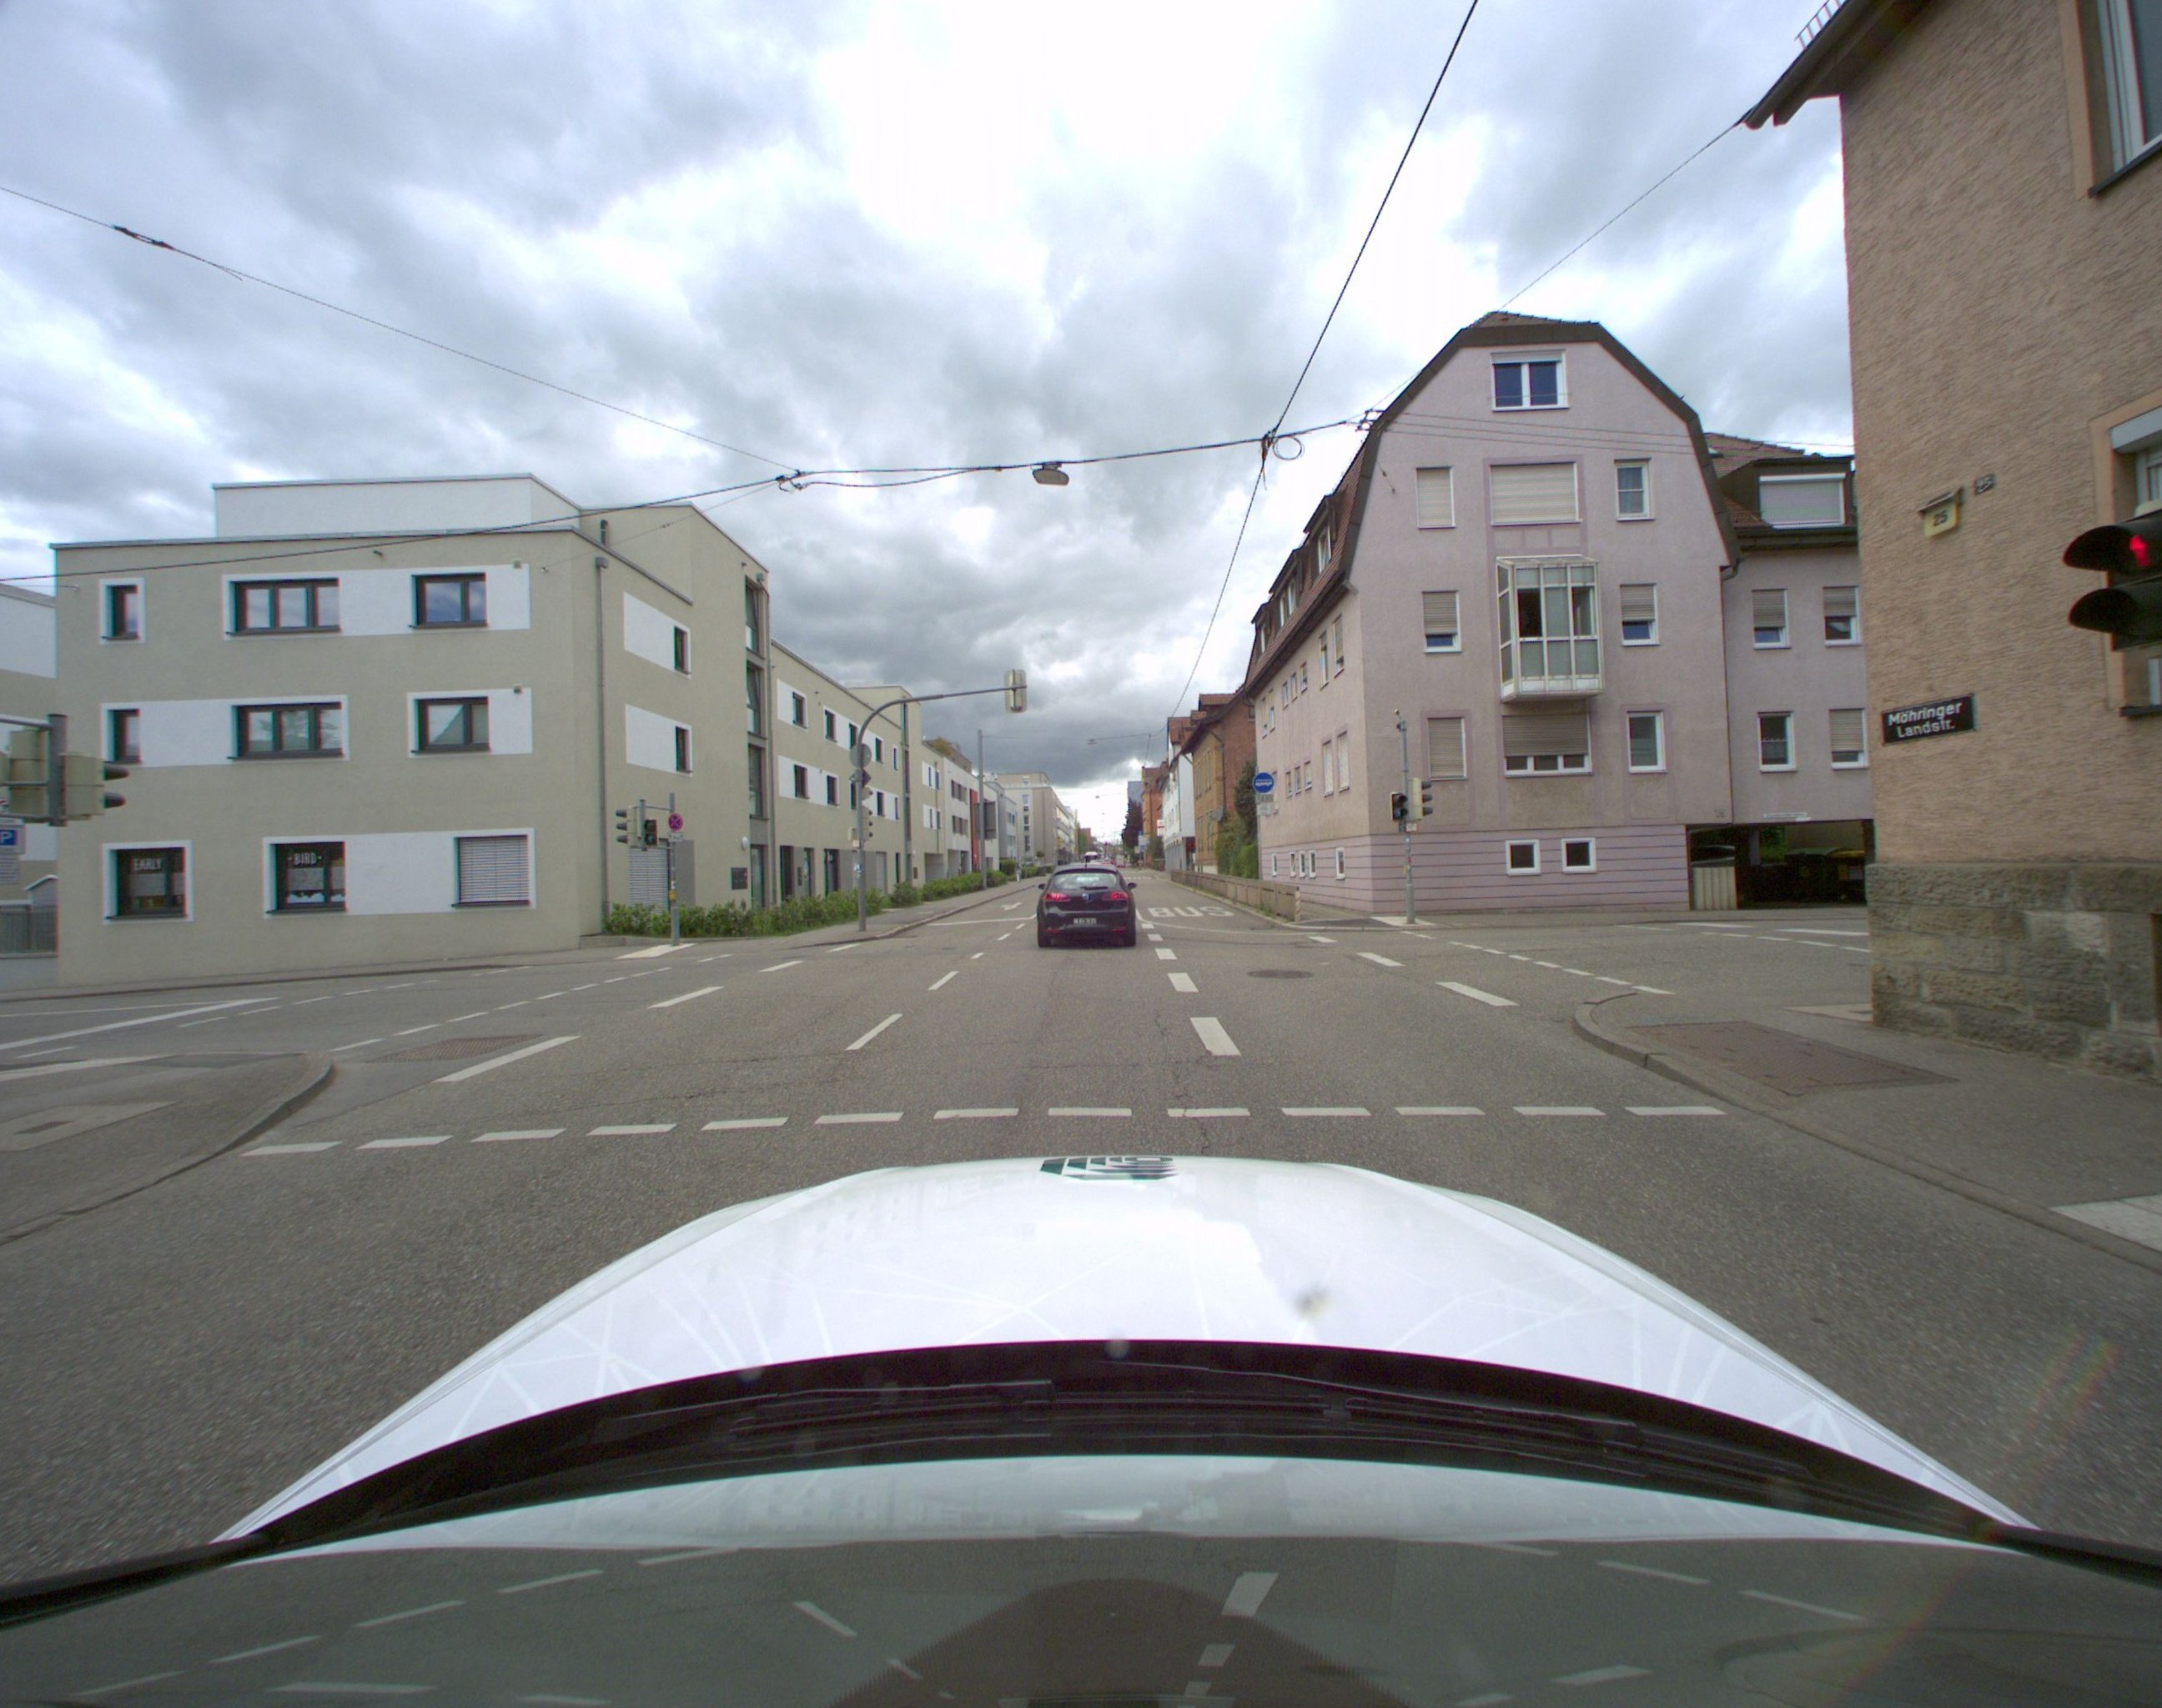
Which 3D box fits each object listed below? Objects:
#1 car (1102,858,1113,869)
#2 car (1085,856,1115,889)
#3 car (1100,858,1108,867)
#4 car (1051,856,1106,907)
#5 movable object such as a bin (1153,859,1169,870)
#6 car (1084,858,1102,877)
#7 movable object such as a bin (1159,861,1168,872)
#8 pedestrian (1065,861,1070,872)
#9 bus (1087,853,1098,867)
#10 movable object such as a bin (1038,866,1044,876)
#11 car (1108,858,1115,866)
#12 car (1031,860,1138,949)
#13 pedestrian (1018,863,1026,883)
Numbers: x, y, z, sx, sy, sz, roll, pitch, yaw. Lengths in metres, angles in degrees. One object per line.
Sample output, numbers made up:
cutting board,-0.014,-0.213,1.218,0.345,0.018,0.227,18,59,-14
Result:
car,4.000,1.429,122.558,1.526,1.693,3.694,-1,-1,2
car,1.055,0.991,44.432,1.526,1.693,3.694,-1,-1,2
car,4.643,1.768,163.657,1.526,1.693,3.694,-2,0,2
car,-0.020,0.962,29.682,1.835,1.693,4.001,-1,-1,2
movable object such as a bin,9.956,1.311,101.630,1.810,1.437,1.994,-1,-1,3
car,1.120,1.238,73.988,1.526,1.693,3.694,-1,-1,2
movable object such as a bin,9.847,1.536,97.197,0.925,1.283,0.883,-1,-1,2
pedestrian,-2.003,1.835,119.194,0.728,1.729,0.860,-1,-1,1
bus,2.424,1.266,170.598,2.202,2.886,8.923,-1,-1,2
movable object such as a bin,-4.138,1.746,84.663,0.547,1.078,0.612,-1,-1,3
car,7.054,1.900,190.528,1.526,1.693,3.694,-2,0,2
car,0.122,0.862,15.450,1.752,1.442,4.001,-1,-1,2
pedestrian,-4.551,1.468,62.950,0.524,1.548,0.541,-1,-1,2
